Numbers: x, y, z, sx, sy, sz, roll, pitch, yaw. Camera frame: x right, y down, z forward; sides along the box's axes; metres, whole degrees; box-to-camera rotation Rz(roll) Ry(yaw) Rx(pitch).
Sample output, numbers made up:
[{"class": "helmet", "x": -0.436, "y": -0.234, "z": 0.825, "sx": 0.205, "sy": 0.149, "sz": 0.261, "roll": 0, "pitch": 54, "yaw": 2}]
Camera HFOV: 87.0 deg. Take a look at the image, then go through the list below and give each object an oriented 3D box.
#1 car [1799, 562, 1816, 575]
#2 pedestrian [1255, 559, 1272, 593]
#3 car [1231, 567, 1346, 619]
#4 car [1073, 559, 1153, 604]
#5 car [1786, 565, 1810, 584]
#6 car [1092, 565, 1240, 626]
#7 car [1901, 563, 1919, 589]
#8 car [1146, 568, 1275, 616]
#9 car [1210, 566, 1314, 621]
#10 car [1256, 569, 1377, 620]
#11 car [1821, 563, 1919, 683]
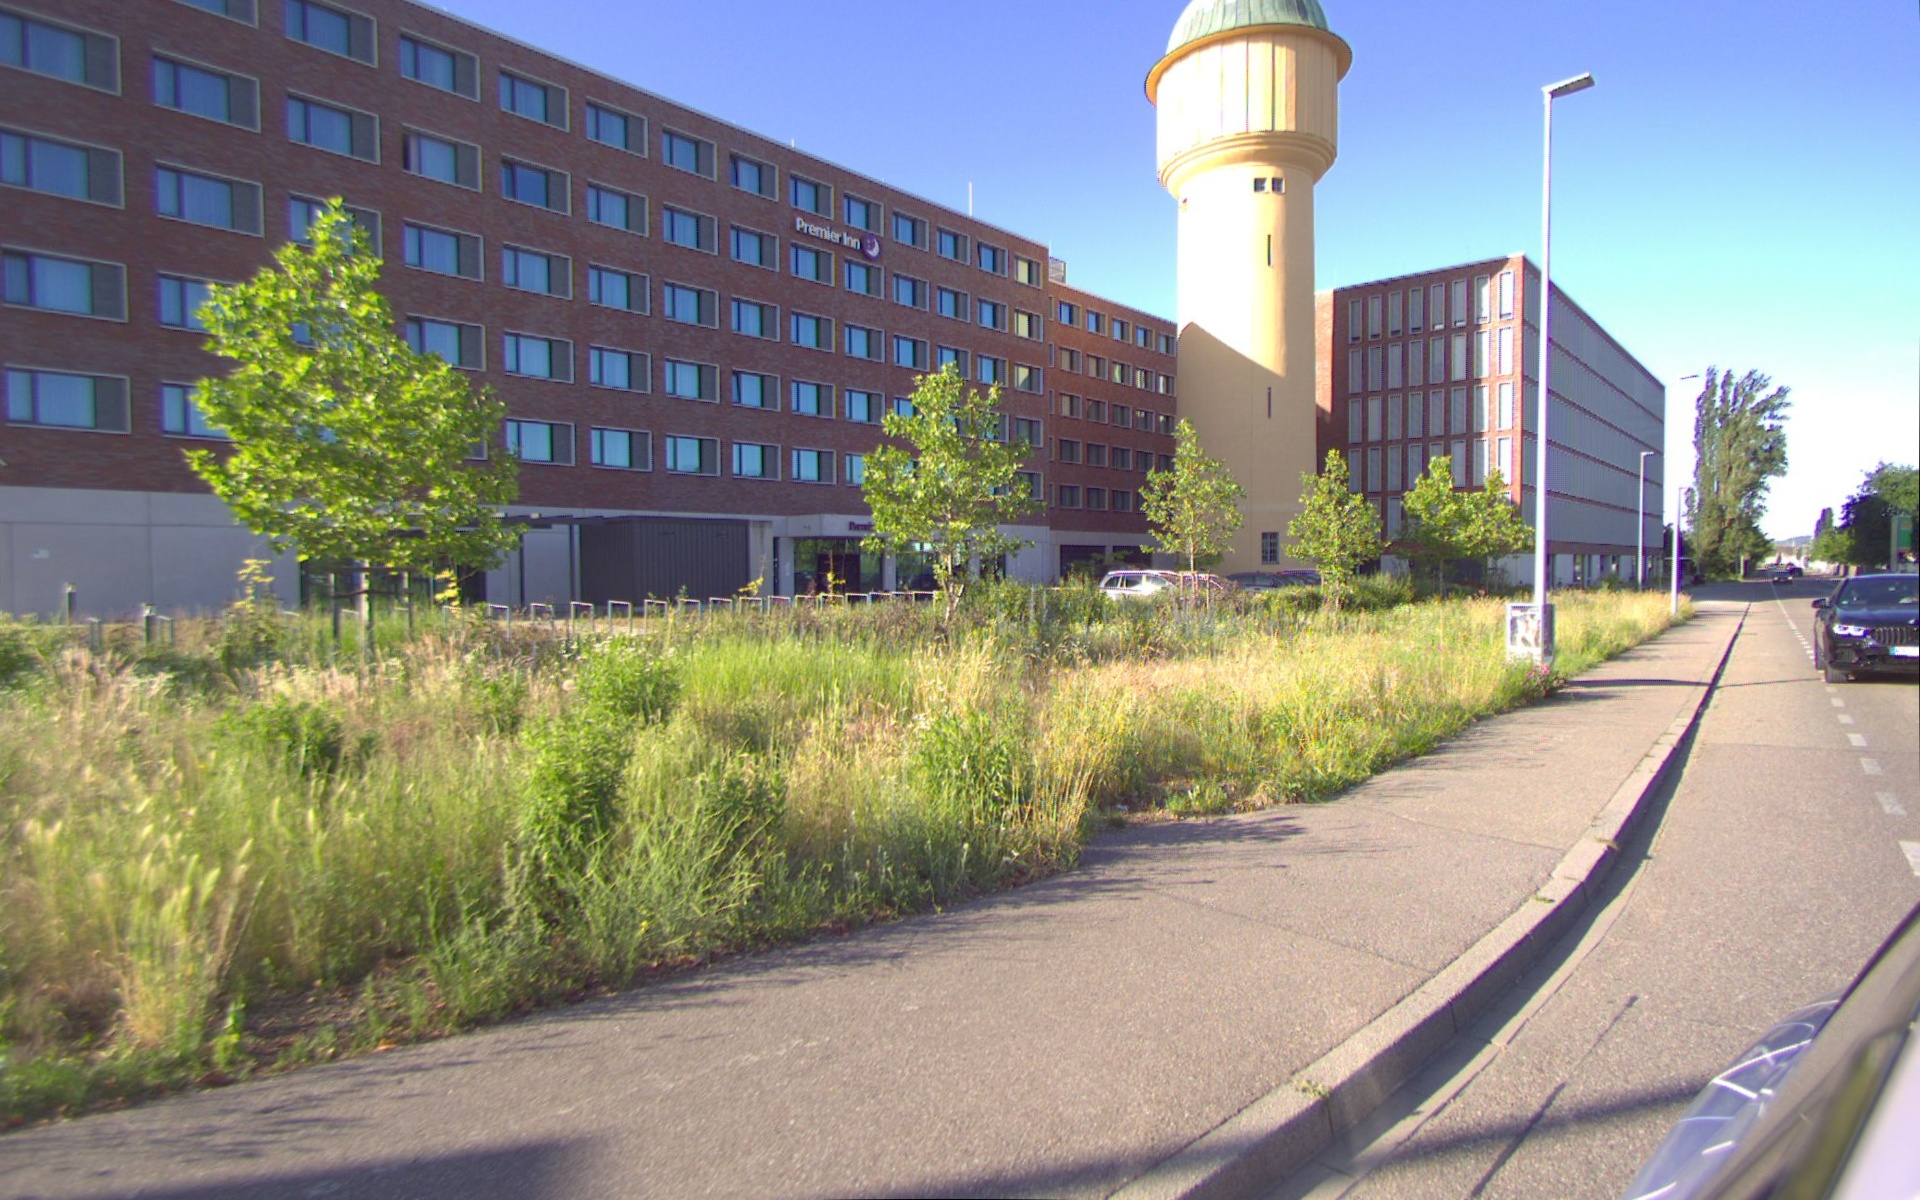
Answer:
[{"class": "car", "x": 132.090, "y": -4.885, "z": 157.815, "sx": 1.991, "sy": 2.039, "sz": 3.943, "roll": 0, "pitch": 1, "yaw": 40}, {"class": "pedestrian", "x": 17.349, "y": -1.376, "z": 57.882, "sx": 0.884, "sy": 1.887, "sz": 0.966, "roll": -1, "pitch": 0, "yaw": 18}, {"class": "car", "x": 13.259, "y": -0.305, "z": 40.912, "sx": 3.987, "sy": 2.005, "sz": 1.968, "roll": 1, "pitch": 1, "yaw": 44}, {"class": "car", "x": 8.120, "y": -0.996, "z": 53.319, "sx": 1.861, "sy": 2.292, "sz": 4.865, "roll": 0, "pitch": 1, "yaw": 41}, {"class": "car", "x": 92.317, "y": -2.774, "z": 111.531, "sx": 1.991, "sy": 2.039, "sz": 3.943, "roll": 0, "pitch": 1, "yaw": 40}, {"class": "car", "x": 6.624, "y": -0.168, "z": 32.740, "sx": 4.315, "sy": 1.851, "sz": 1.971, "roll": 0, "pitch": 1, "yaw": 41}, {"class": "car", "x": 104.641, "y": -2.606, "z": 108.272, "sx": 5.748, "sy": 2.736, "sz": 1.971, "roll": 0, "pitch": 1, "yaw": 41}, {"class": "car", "x": 8.649, "y": -0.282, "z": 35.101, "sx": 3.987, "sy": 1.569, "sz": 1.805, "roll": 1, "pitch": 1, "yaw": 44}, {"class": "car", "x": 11.742, "y": -0.263, "z": 39.460, "sx": 3.470, "sy": 2.047, "sz": 1.809, "roll": 0, "pitch": 1, "yaw": 42}, {"class": "car", "x": 15.194, "y": -0.256, "z": 43.290, "sx": 4.515, "sy": 2.039, "sz": 1.970, "roll": 0, "pitch": 1, "yaw": 43}, {"class": "car", "x": 15.435, "y": 0.287, "z": 16.473, "sx": 2.038, "sy": 1.736, "sz": 4.684, "roll": -1, "pitch": 1, "yaw": 39}]
